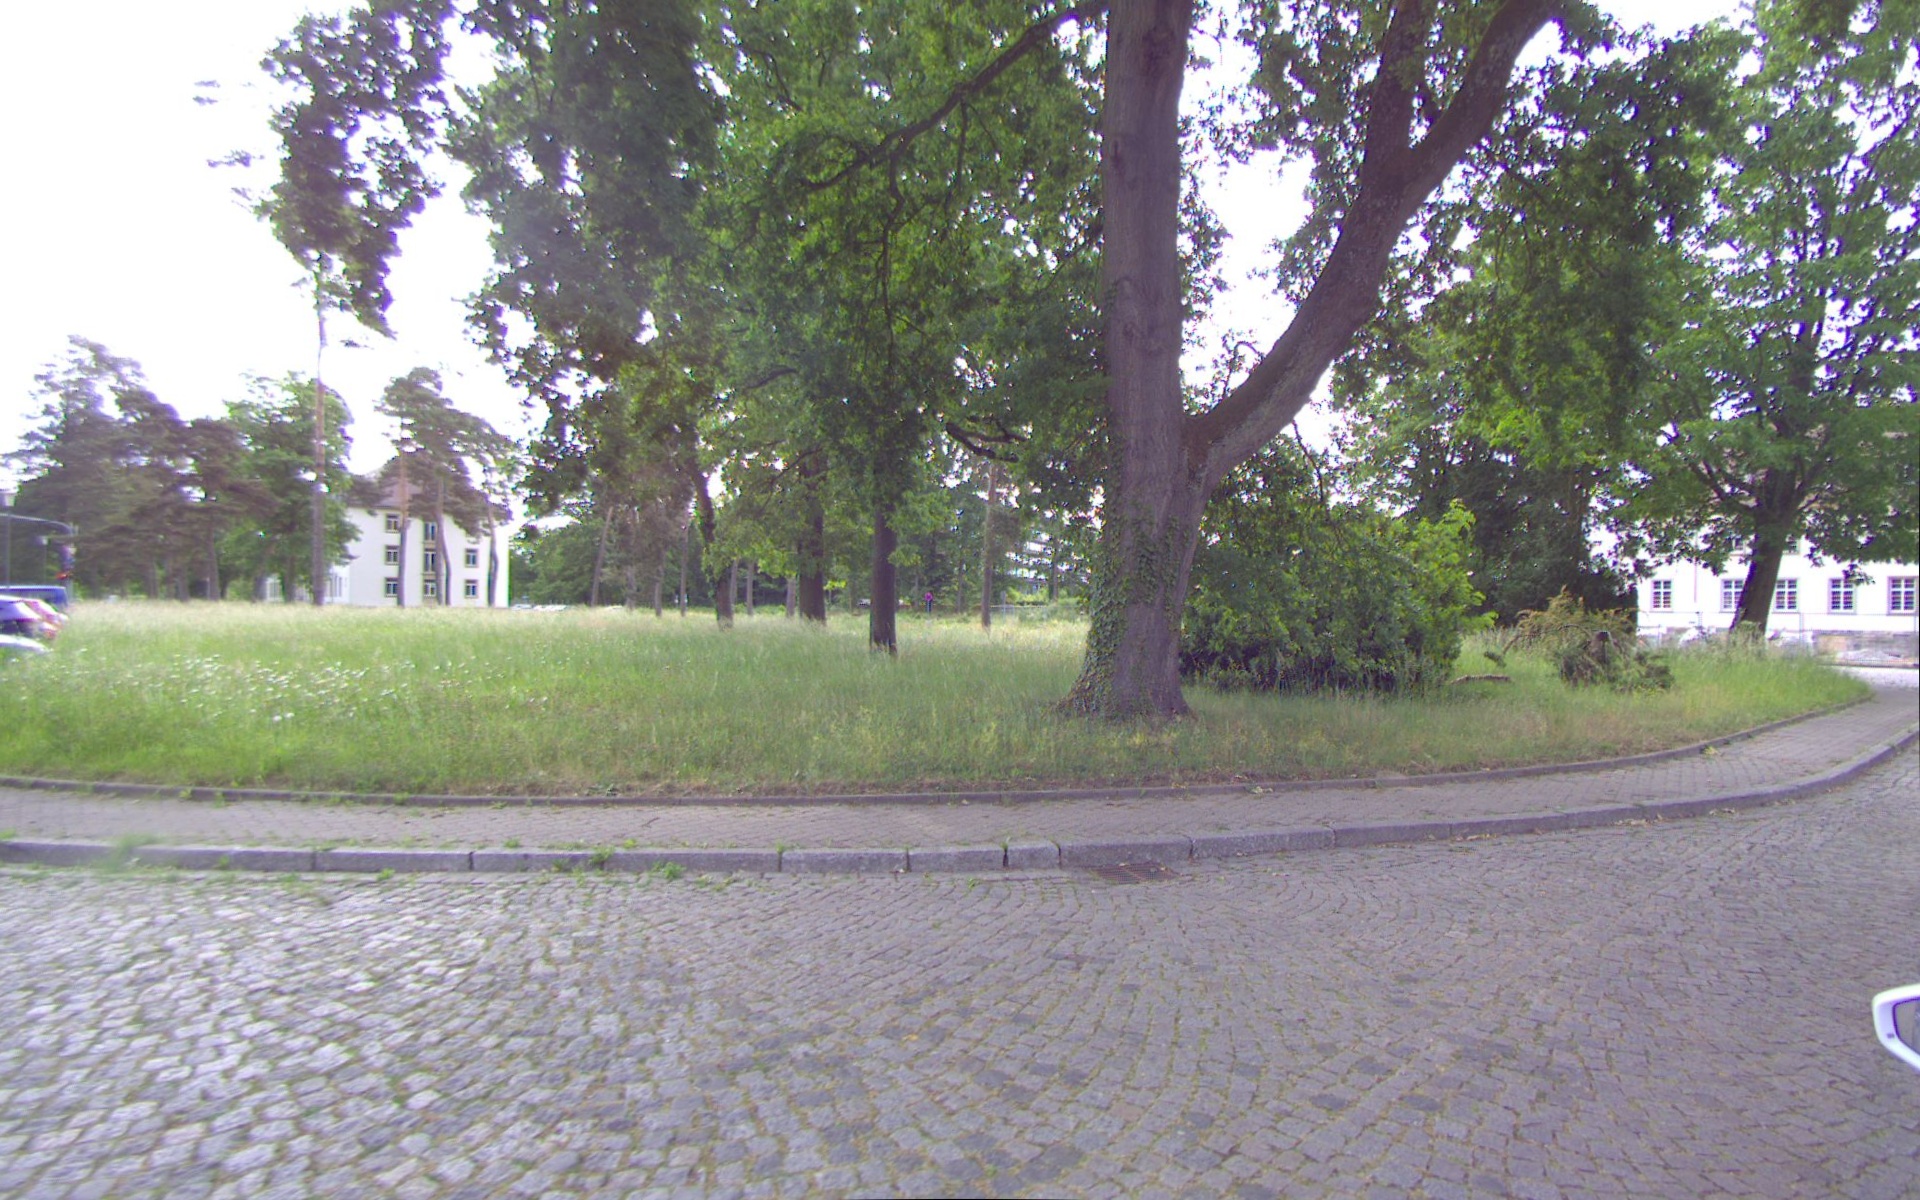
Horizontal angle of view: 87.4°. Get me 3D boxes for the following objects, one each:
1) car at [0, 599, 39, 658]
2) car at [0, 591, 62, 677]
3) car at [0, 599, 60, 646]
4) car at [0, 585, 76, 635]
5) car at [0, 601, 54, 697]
[{"bbox_3d":[-26.009,0.742,25.768,3.474,1.502,1.582,-1,1,-43],"label":"car"},{"bbox_3d":[-19.166,0.621,18.164,4.334,1.583,1.742,0,0,-43],"label":"car"},{"bbox_3d":[-30.806,0.722,31.636,3.637,1.440,1.557,-1,1,-44],"label":"car"},{"bbox_3d":[-38.359,0.391,40.145,4.512,1.927,1.770,-1,1,-43],"label":"car"},{"bbox_3d":[-16.201,0.738,14.641,4.317,1.424,1.744,0,0,-39],"label":"car"}]
